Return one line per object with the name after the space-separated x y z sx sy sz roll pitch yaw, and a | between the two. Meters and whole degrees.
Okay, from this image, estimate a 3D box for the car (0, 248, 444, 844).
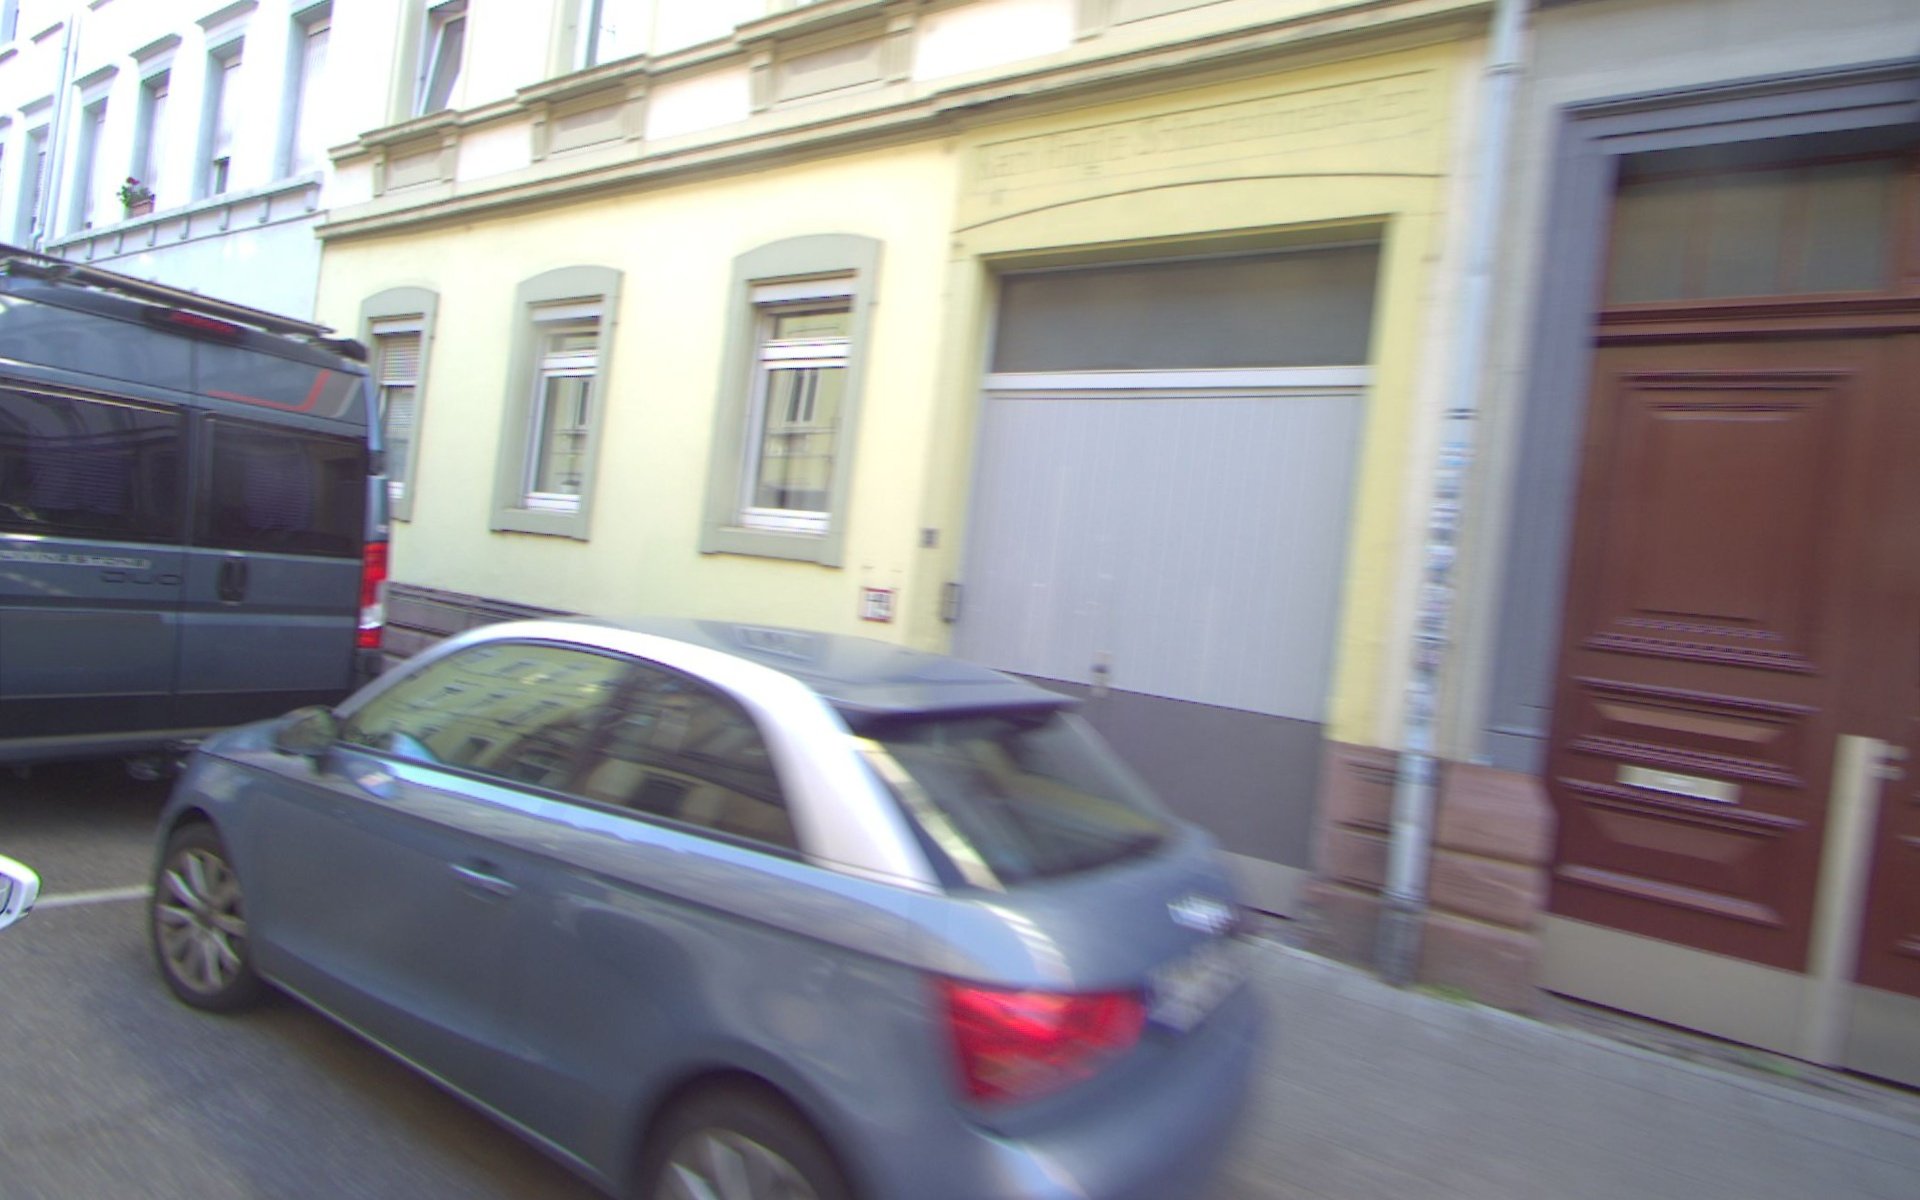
-6.209 -0.468 6.415 6.205 2.456 2.176 7 1 32 | car

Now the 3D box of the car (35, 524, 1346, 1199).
-1.125 0.728 3.322 4.103 1.461 1.750 7 -1 32 | car
